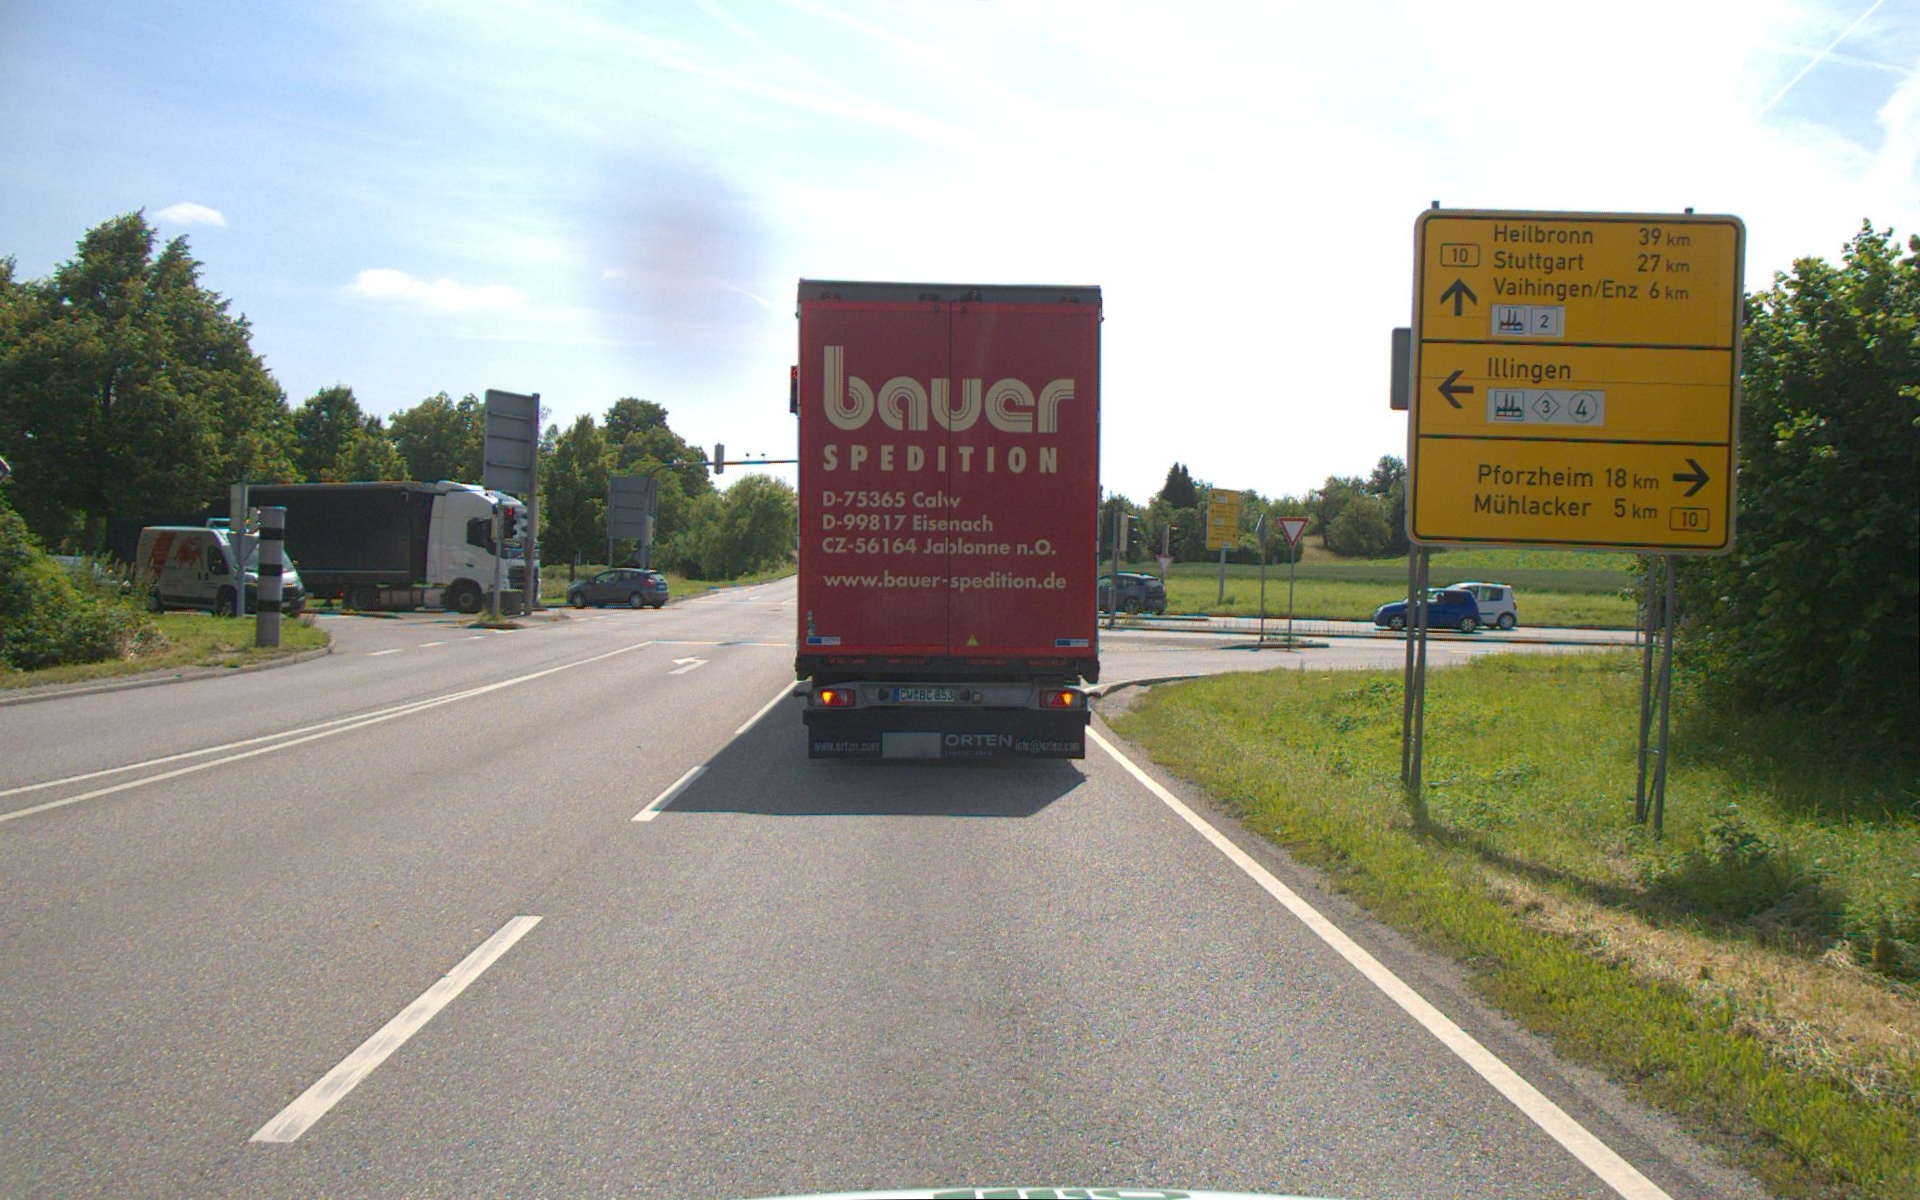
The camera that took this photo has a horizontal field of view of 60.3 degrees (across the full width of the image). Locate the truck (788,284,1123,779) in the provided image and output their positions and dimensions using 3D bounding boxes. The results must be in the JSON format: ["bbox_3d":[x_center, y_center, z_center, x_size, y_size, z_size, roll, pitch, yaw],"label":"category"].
[{"bbox_3d":[-0.250,-0.677,21.782,2.679,3.993,16.621,1,1,-2],"label":"truck"}]

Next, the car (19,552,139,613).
[{"bbox_3d":[-27.343,-0.552,51.274,4.033,1.780,1.863,2,1,39],"label":"car"}]

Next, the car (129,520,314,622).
[{"bbox_3d":[-20.651,-0.832,46.131,5.867,2.700,2.116,1,1,36],"label":"car"}]

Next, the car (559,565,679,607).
[{"bbox_3d":[-12.772,-0.509,62.075,3.902,1.454,2.002,2,0,13],"label":"car"}]

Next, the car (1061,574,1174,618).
[{"bbox_3d":[6.226,-0.161,65.617,4.205,1.685,1.692,1,0,38],"label":"car"}]

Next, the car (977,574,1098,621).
[{"bbox_3d":[2.761,-0.092,58.240,4.012,1.574,1.875,1,0,11],"label":"car"}]

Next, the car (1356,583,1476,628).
[{"bbox_3d":[15.185,0.163,55.263,3.766,1.380,1.678,1,0,13],"label":"car"}]

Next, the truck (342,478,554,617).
[{"bbox_3d":[-15.970,-1.661,51.681,5.704,4.131,2.800,2,1,18],"label":"truck"}]

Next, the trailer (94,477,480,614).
[{"bbox_3d":[-22.092,-1.860,53.949,13.403,4.131,2.798,2,1,21],"label":"trailer"}]

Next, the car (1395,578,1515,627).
[{"bbox_3d":[17.392,0.073,58.237,3.747,1.662,1.762,1,0,3],"label":"car"}]

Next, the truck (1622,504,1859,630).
[{"bbox_3d":[26.565,-1.147,56.653,6.783,4.063,3.030,2,1,14],"label":"truck"}]
